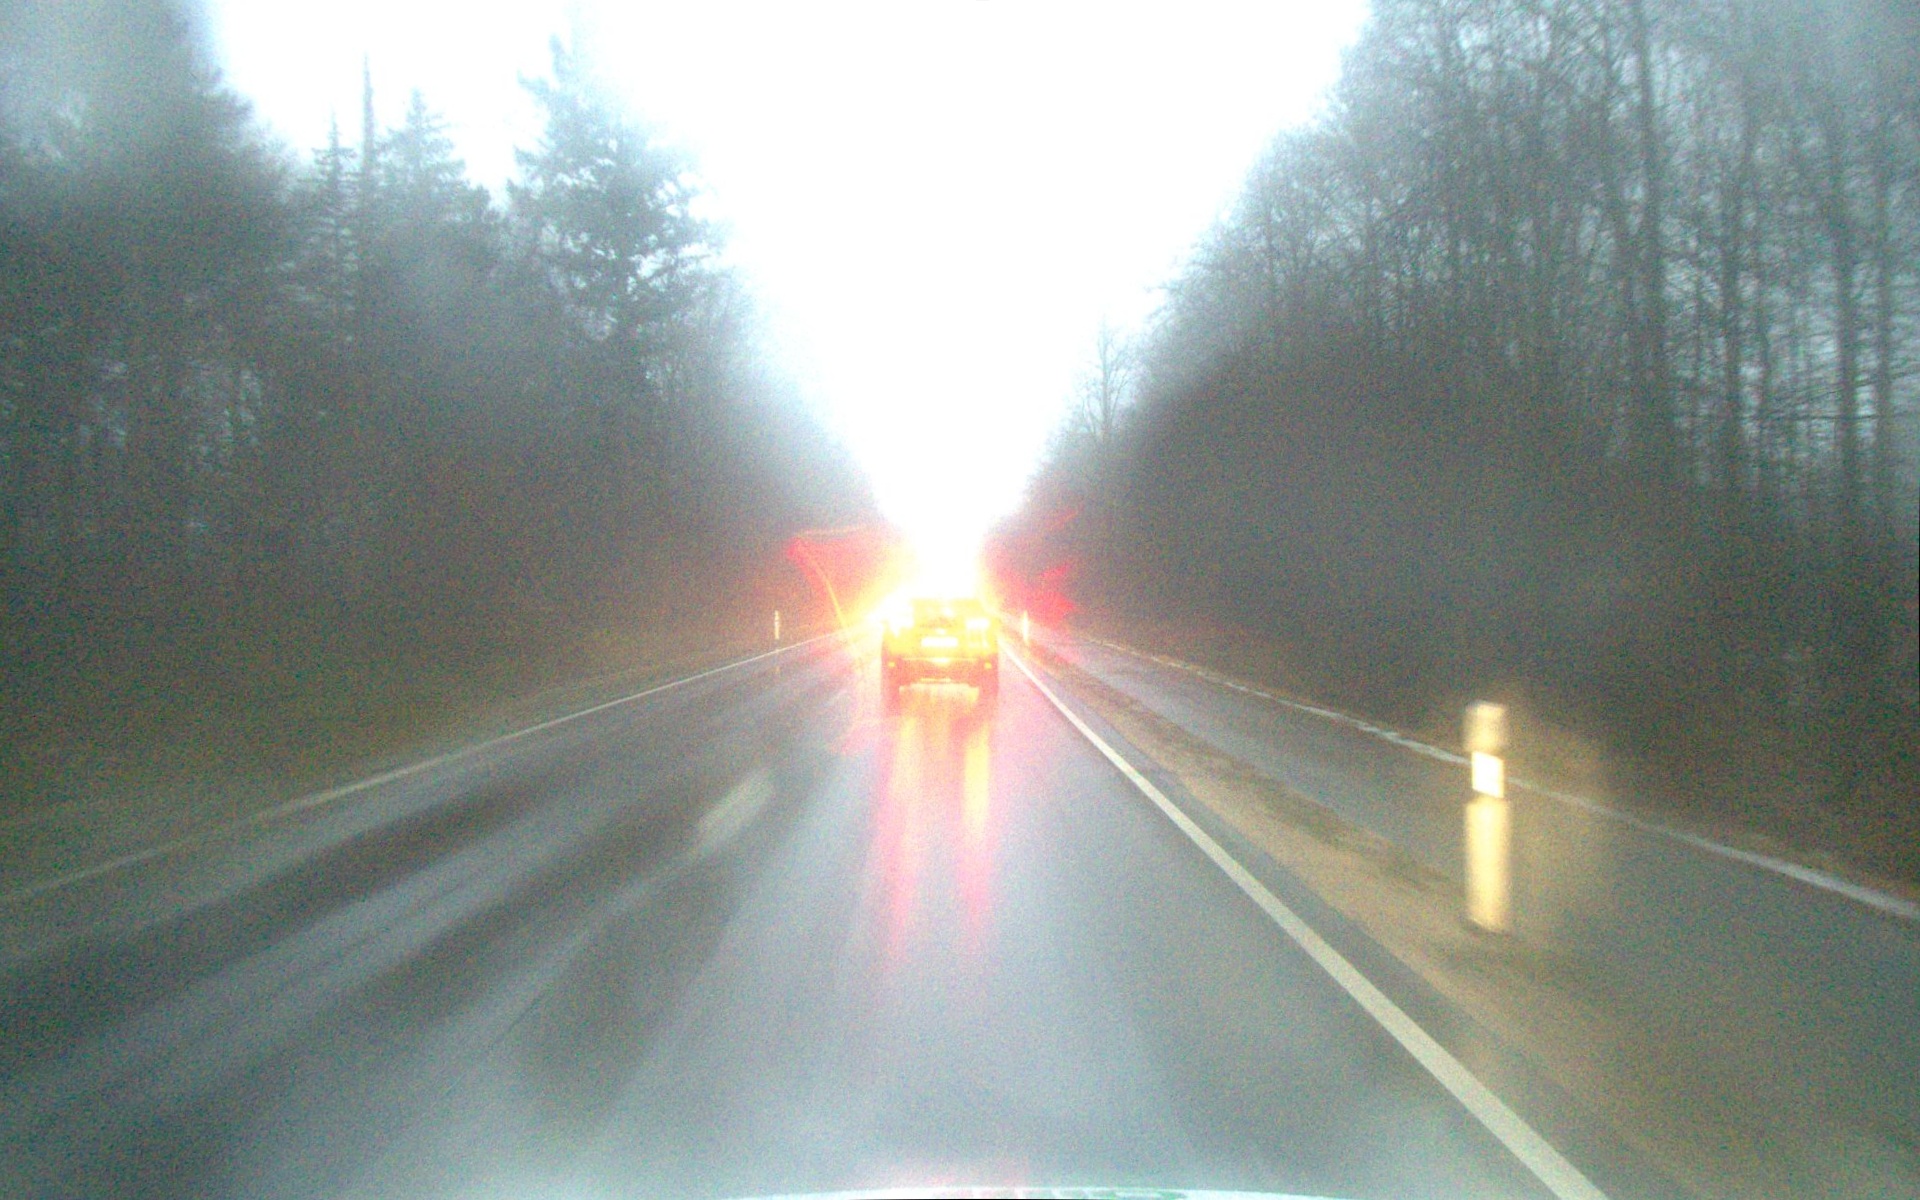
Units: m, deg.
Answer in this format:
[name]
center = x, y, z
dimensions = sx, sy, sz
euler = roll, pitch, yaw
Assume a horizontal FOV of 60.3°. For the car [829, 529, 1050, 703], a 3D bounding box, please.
[car]
center = -0.317, 0.222, 26.838
dimensions = 3.118, 2.428, 6.635
euler = 1, 0, -1
